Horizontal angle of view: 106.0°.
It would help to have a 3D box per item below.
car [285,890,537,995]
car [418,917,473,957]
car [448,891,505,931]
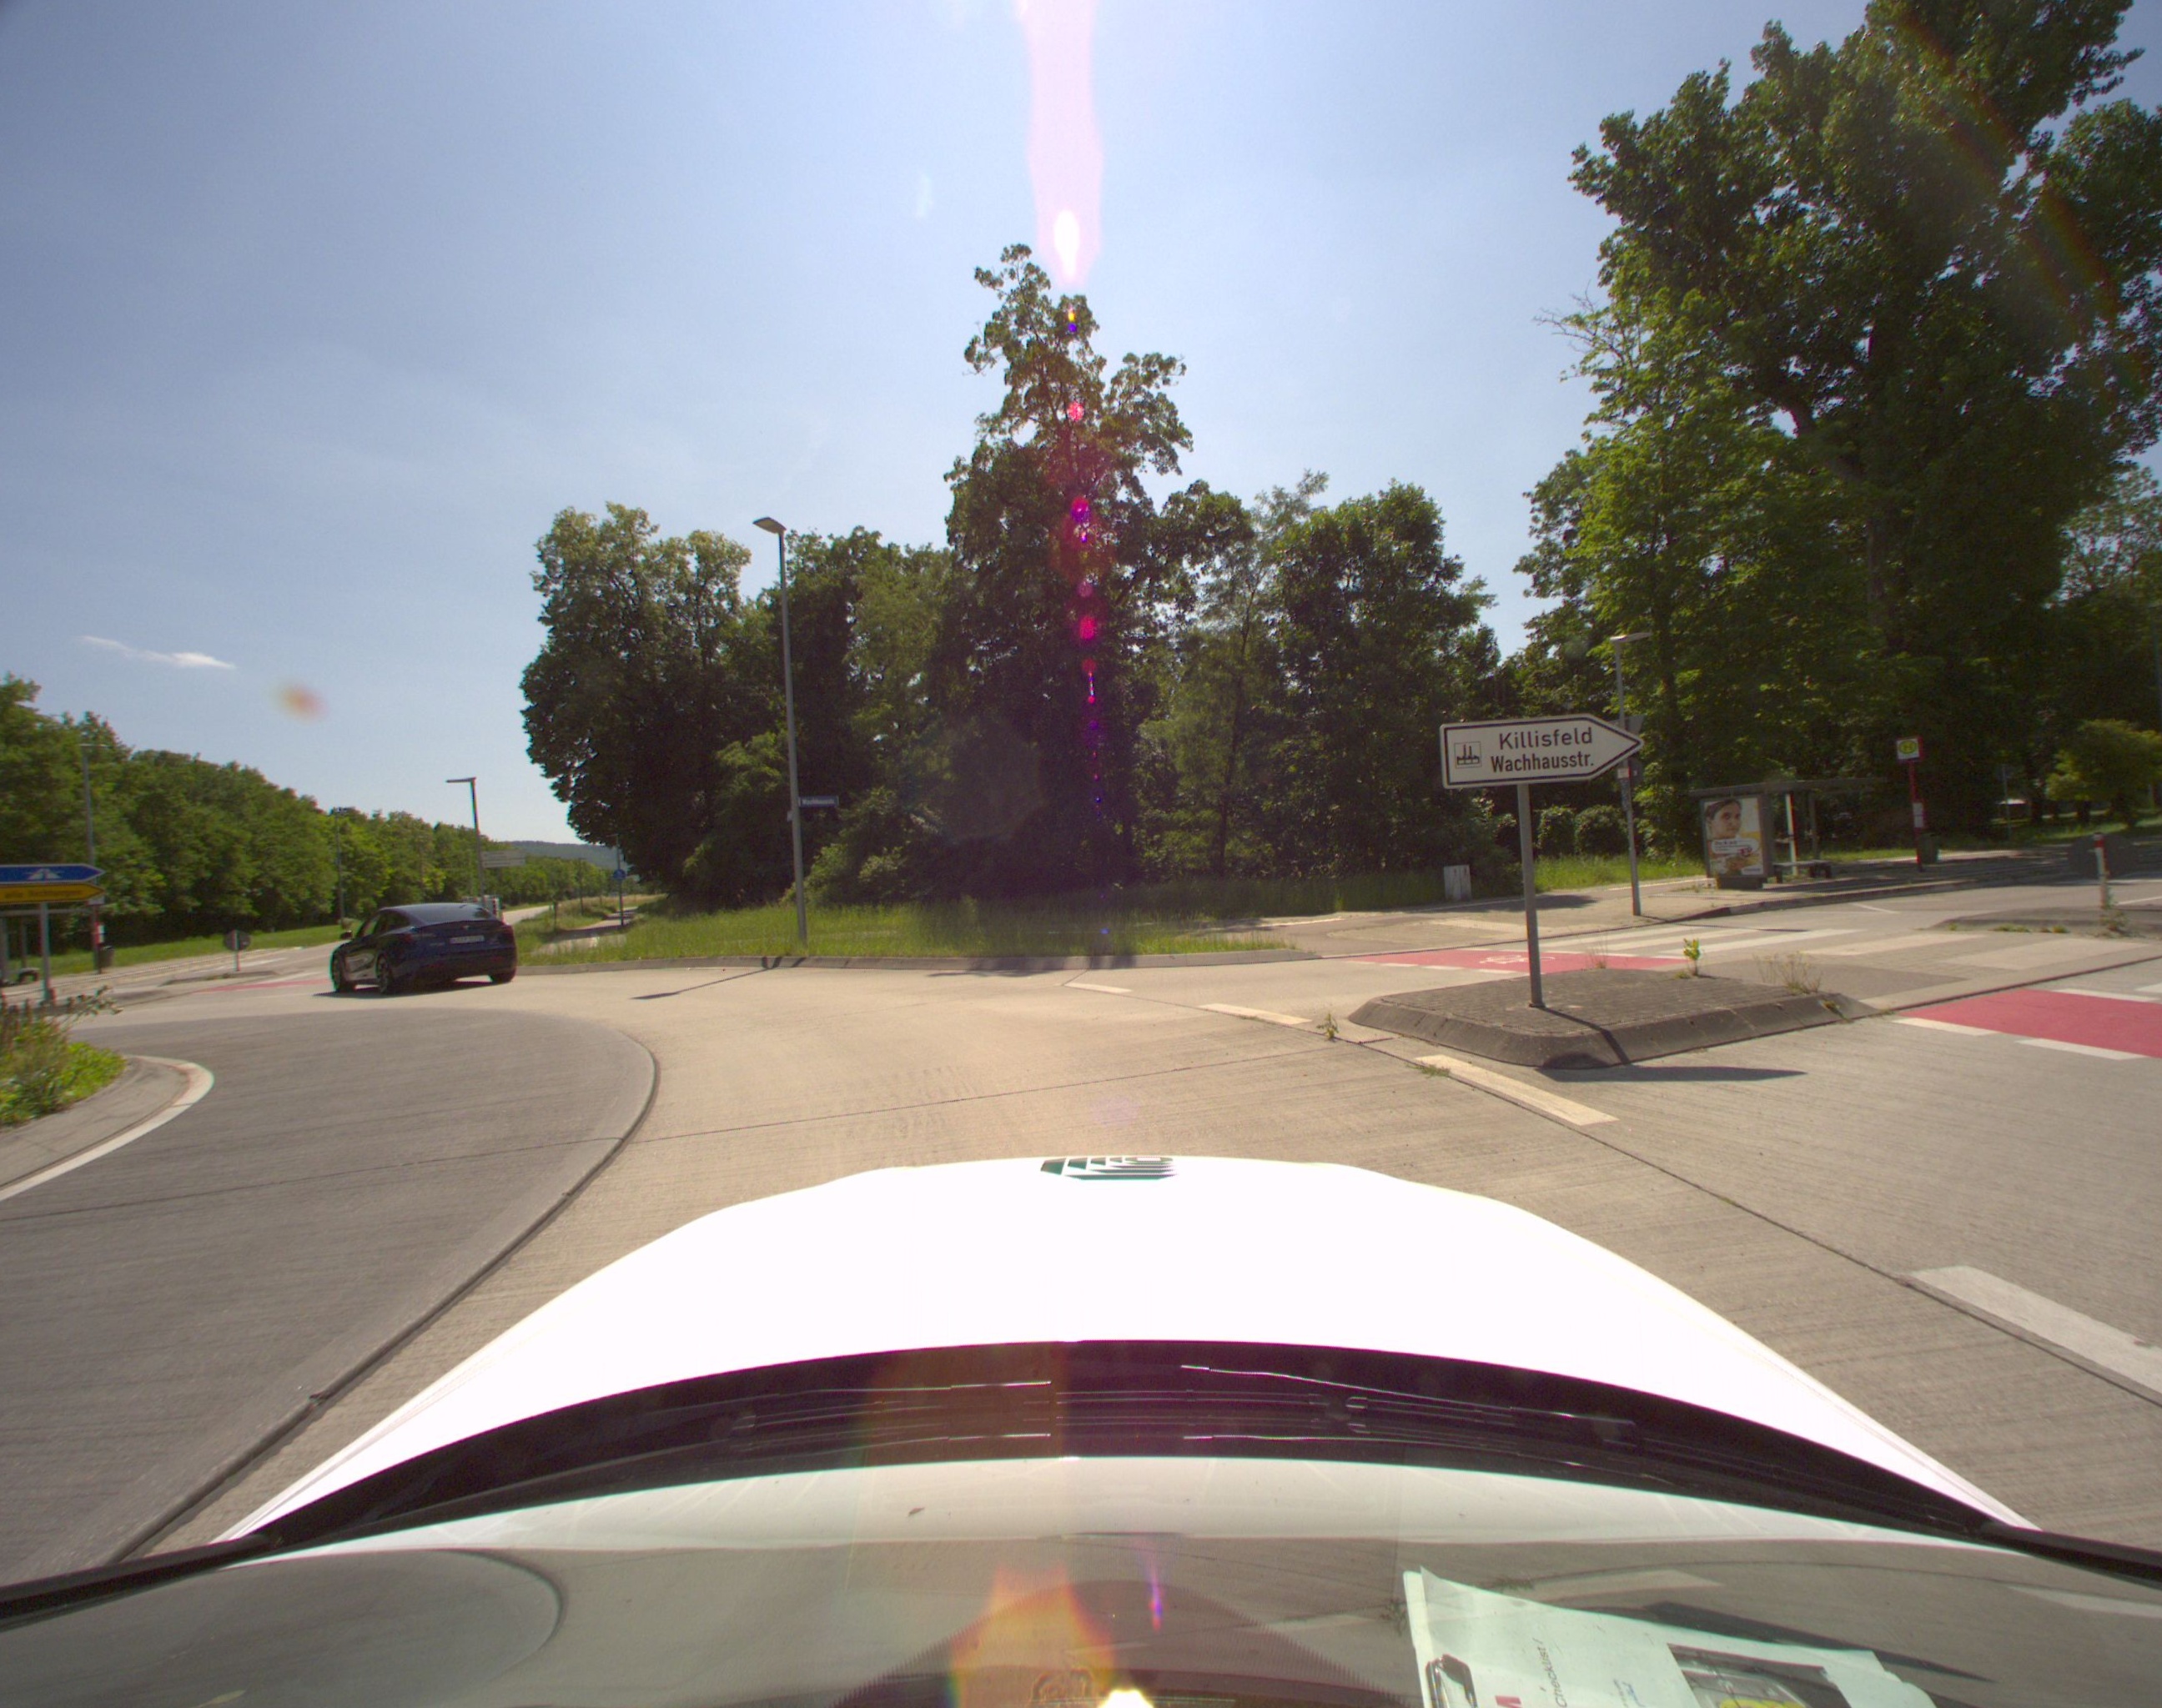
[{"bbox_3d":[-12.843,1.666,15.560,4.696,1.639,2.012,-4,-1,28],"label":"car"},{"bbox_3d":[-29.986,3.895,38.545,1.798,1.607,4.082,-2,-2,-35],"label":"car"},{"bbox_3d":[-39.027,3.669,52.677,2.179,2.316,4.934,-3,-2,-28],"label":"car"}]
